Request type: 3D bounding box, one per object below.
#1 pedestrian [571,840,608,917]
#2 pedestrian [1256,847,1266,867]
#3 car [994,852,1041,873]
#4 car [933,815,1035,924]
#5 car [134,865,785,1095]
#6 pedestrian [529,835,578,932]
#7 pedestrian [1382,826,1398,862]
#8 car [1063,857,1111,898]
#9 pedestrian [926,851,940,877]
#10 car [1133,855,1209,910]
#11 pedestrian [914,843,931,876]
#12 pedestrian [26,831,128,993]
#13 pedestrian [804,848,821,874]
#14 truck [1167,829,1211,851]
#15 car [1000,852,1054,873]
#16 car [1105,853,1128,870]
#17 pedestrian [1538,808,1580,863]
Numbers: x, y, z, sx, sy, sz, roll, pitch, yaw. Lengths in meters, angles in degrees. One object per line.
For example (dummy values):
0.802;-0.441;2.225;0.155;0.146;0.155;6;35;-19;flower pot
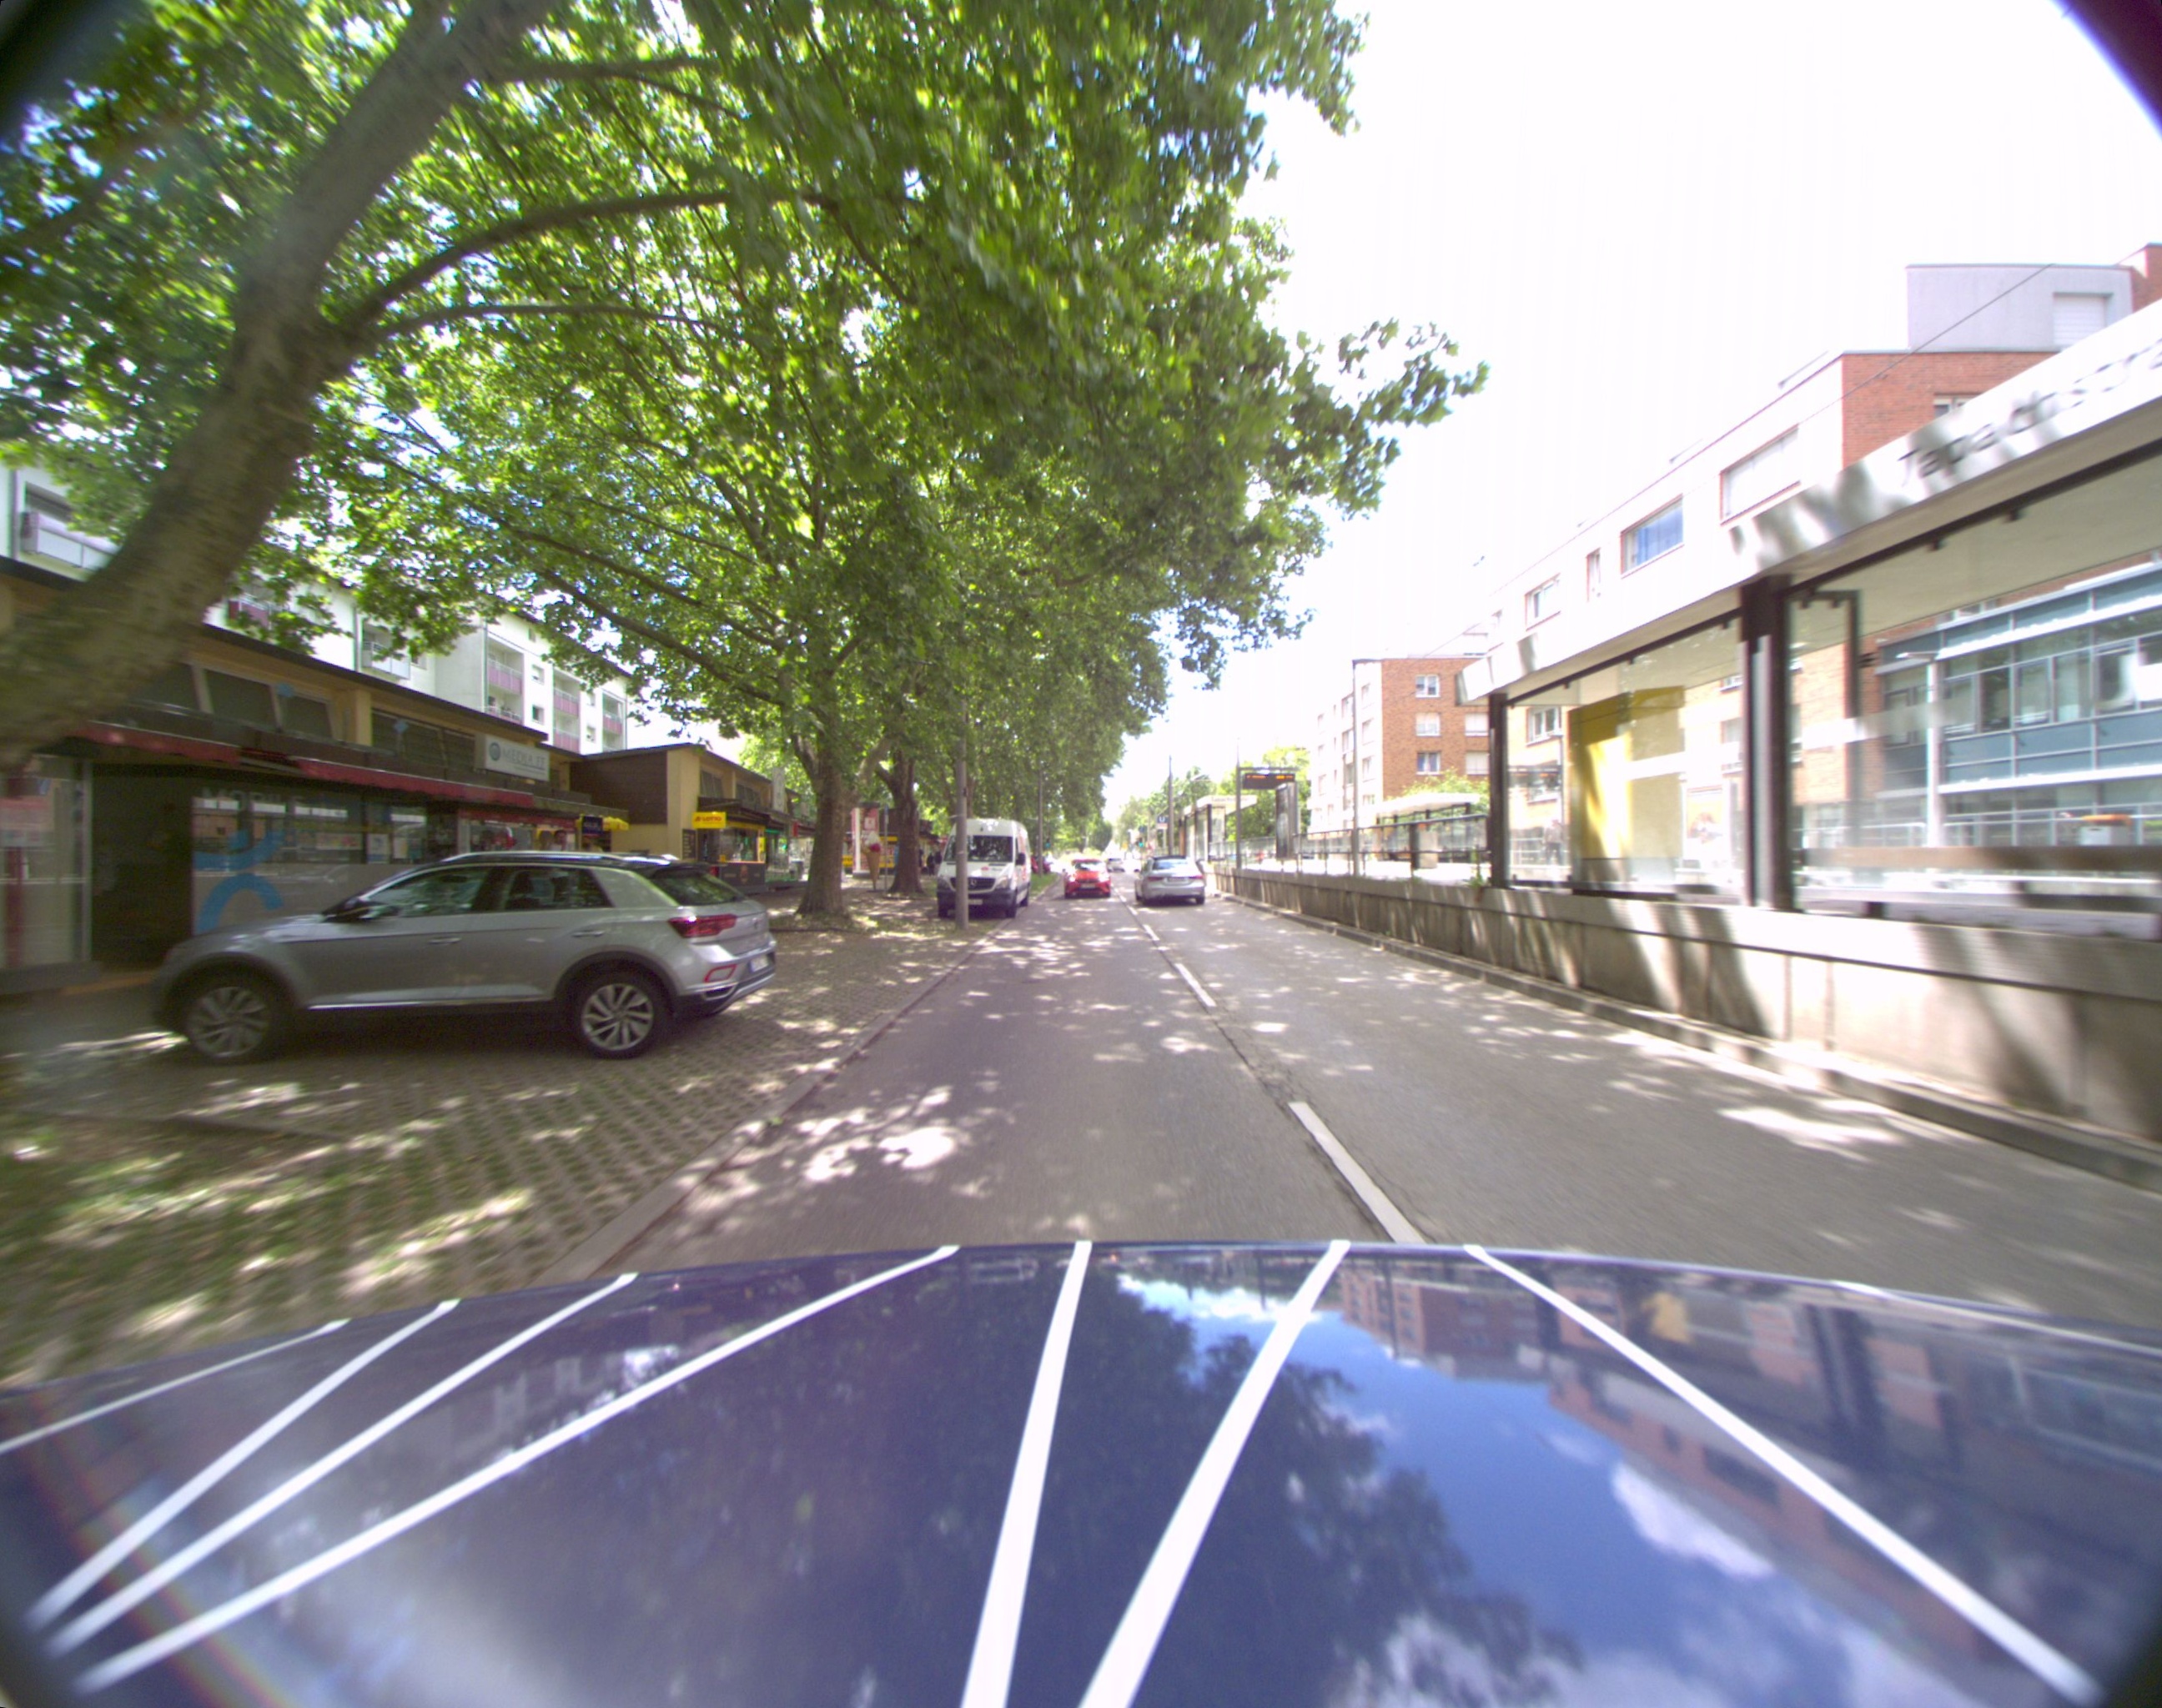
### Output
-11.584;0.572;17.912;0.519;1.783;0.534;-1;1;-10;pedestrian
16.527;0.283;69.694;0.745;1.814;0.829;0;0;-1;pedestrian
-4.642;0.593;56.025;3.416;1.506;1.609;-1;0;-4;car
-2.538;0.363;21.645;1.909;2.566;6.833;1;0;1;car
-4.649;0.896;6.210;3.841;1.553;1.619;1;0;-6;car
-10.051;0.529;14.470;0.923;1.791;0.607;2;2;45;pedestrian
14.974;-0.493;36.805;0.535;1.753;0.528;0;1;-2;pedestrian
0.236;0.877;30.009;1.712;1.439;3.670;-2;0;0;car
-8.400;0.544;43.143;0.627;1.439;1.028;0;0;0;pedestrian
2.718;0.818;23.860;1.767;1.472;4.576;-2;0;0;car
-9.169;0.303;43.969;0.745;1.872;0.941;1;1;0;pedestrian
-10.751;0.604;8.149;0.545;1.694;0.373;0;1;-6;pedestrian
-16.139;0.395;45.715;0.752;1.526;0.907;0;1;-7;pedestrian
20.237;-2.551;141.914;9.629;4.069;2.623;0;0;-41;truck
-4.272;0.674;60.483;4.038;1.602;1.731;-1;0;3;car
3.155;0.668;67.906;1.736;1.388;3.751;-2;0;-1;car
14.559;-0.548;23.169;0.753;1.619;0.816;-2;1;1;pedestrian
